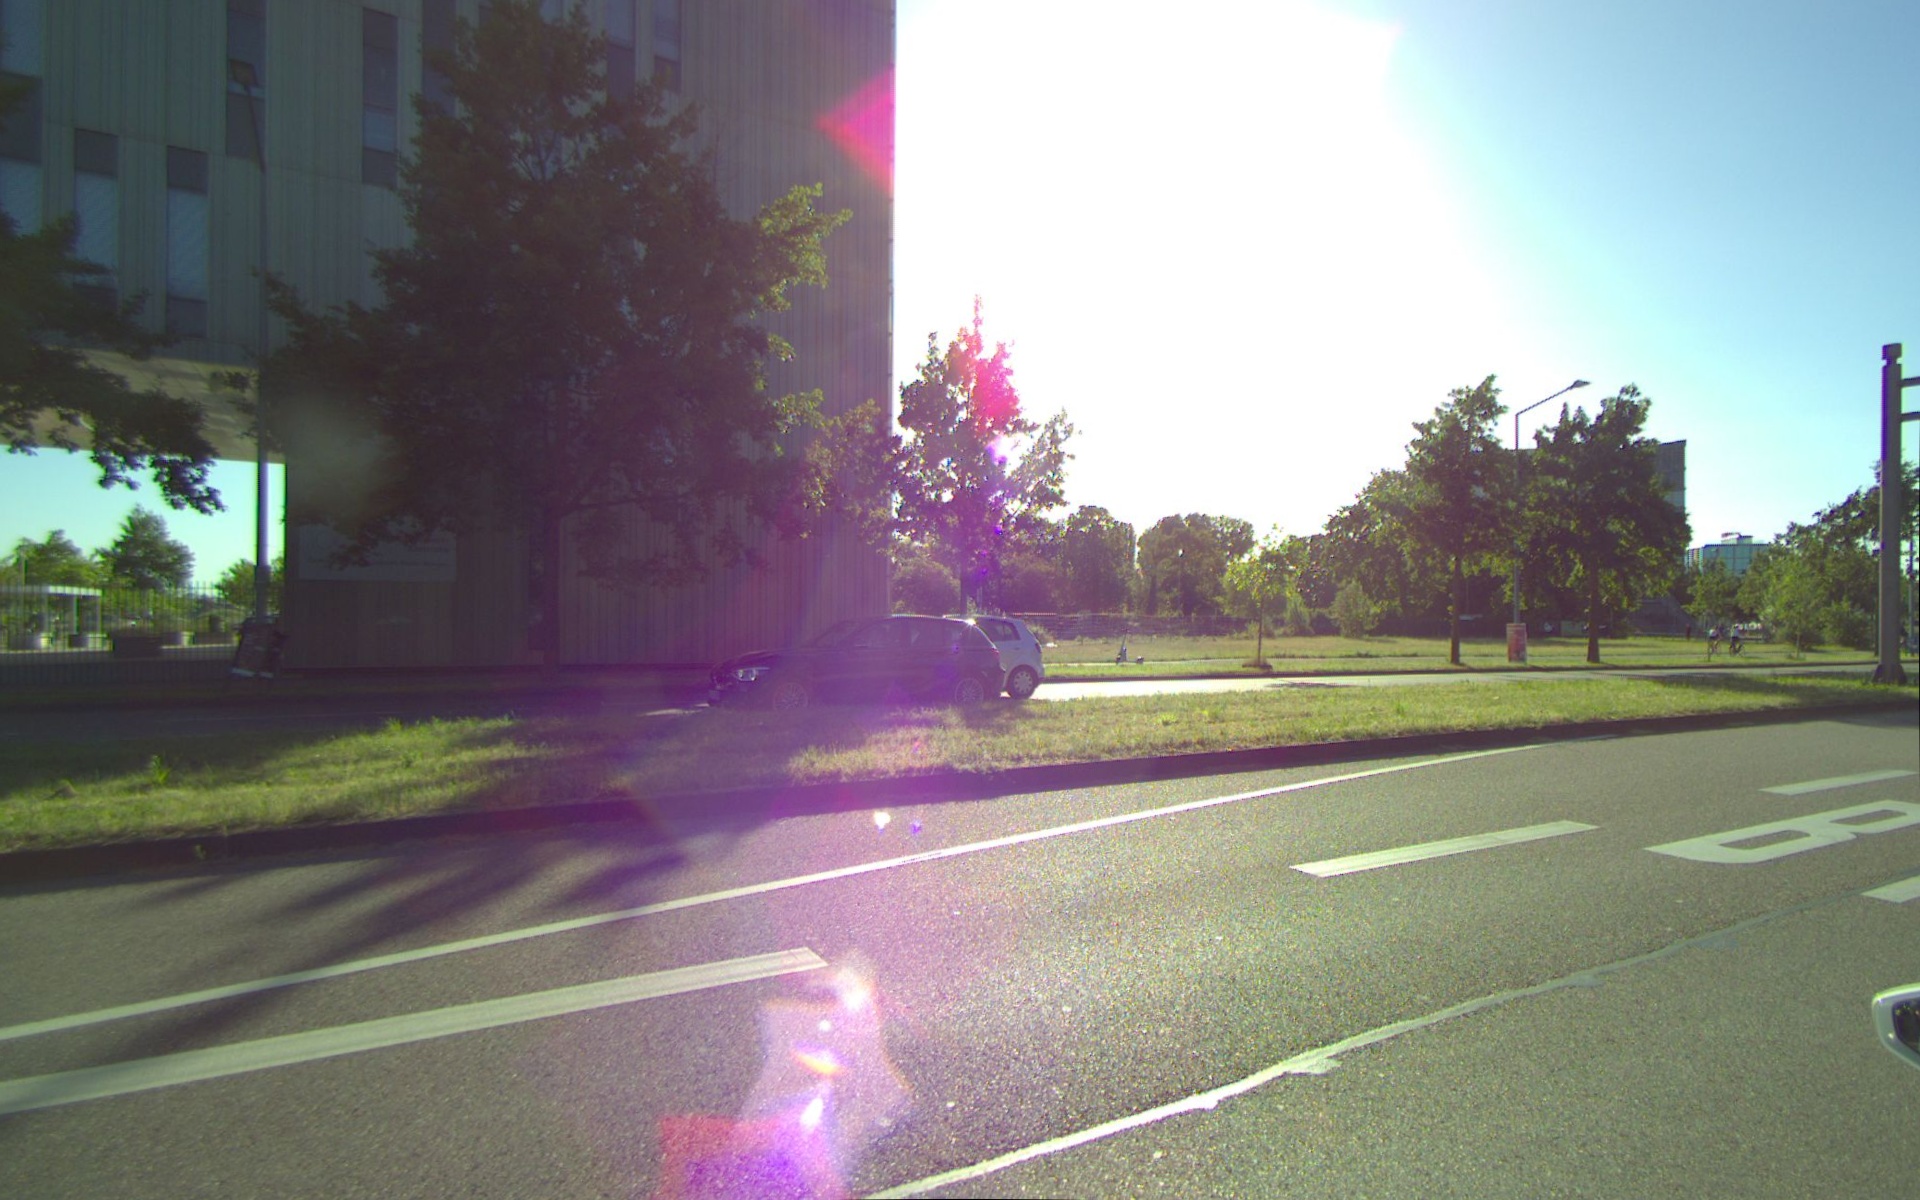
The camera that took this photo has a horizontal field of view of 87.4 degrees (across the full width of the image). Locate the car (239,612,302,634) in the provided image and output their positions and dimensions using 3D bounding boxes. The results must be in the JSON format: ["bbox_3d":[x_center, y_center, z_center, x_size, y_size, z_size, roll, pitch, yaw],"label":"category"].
[{"bbox_3d":[-46.170,1.542,67.354,3.405,1.401,1.422,1,-1,-33],"label":"car"}]

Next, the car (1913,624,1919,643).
[{"bbox_3d":[97.039,3.339,100.456,1.610,1.901,3.992,0,-1,30],"label":"car"}]

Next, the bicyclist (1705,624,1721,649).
[{"bbox_3d":[42.910,2.101,57.228,0.835,1.413,0.480,1,-1,-31],"label":"bicyclist"}]

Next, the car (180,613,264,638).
[{"bbox_3d":[-38.616,1.333,52.644,3.402,1.233,1.424,1,-1,-30],"label":"car"}]

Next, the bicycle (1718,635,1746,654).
[{"bbox_3d":[43.161,2.471,56.133,2.072,1.016,0.567,1,-1,-32],"label":"bicycle"}]

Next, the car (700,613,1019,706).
[{"bbox_3d":[-1.363,0.766,14.143,4.128,1.126,1.818,1,-1,-32],"label":"car"}]

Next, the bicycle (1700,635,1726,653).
[{"bbox_3d":[42.920,2.491,57.229,2.072,1.016,0.484,1,-1,-32],"label":"bicycle"}]

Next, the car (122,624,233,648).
[{"bbox_3d":[-31.985,1.475,41.158,3.402,0.926,1.424,1,-1,-30],"label":"car"}]

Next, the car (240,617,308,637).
[{"bbox_3d":[-43.161,1.704,63.243,3.402,1.233,1.424,1,-1,-30],"label":"car"}]

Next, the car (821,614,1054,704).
[{"bbox_3d":[-0.364,1.019,18.421,4.005,1.496,1.679,1,-1,-32],"label":"car"}]

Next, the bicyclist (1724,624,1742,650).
[{"bbox_3d":[43.232,2.065,56.178,0.739,1.411,0.559,1,-1,-31],"label":"bicyclist"}]

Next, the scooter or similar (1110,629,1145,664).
[{"bbox_3d":[5.614,1.559,33.661,1.312,1.164,0.230,1,-1,-30],"label":"scooter or similar"}]
